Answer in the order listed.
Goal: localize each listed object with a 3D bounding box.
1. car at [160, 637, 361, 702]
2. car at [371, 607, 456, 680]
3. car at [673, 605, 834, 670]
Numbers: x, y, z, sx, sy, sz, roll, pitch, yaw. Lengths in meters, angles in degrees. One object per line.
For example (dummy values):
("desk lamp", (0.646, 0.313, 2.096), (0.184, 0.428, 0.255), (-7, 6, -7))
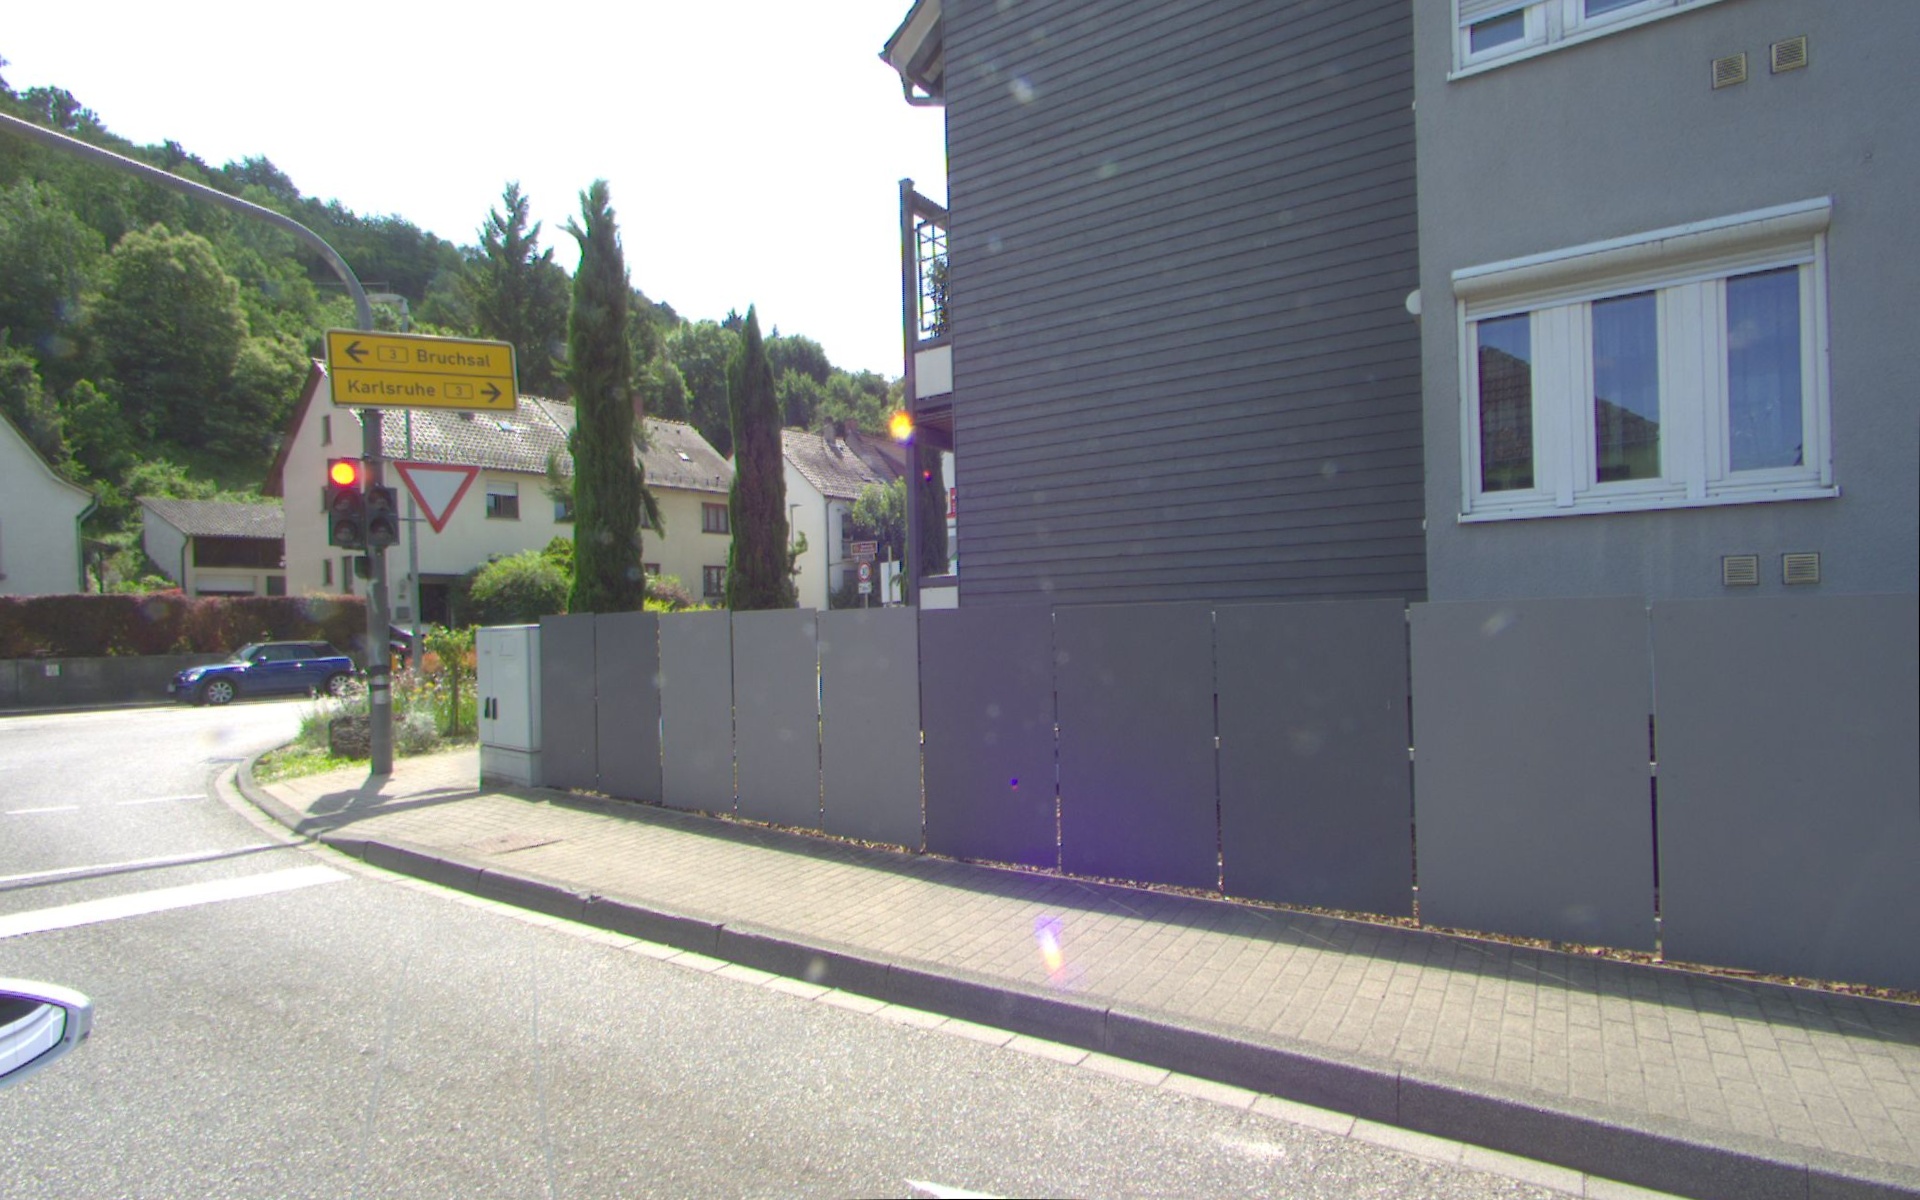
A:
("car", (-16.469, 1.619, 23.710), (1.624, 1.379, 3.597), (-5, -4, 36))
("car", (-17.285, 1.308, 31.575), (1.780, 1.410, 3.650), (0, 12, -38))
("car", (-6.365, 1.167, 31.365), (1.975, 1.844, 4.858), (-4, -3, 36))
